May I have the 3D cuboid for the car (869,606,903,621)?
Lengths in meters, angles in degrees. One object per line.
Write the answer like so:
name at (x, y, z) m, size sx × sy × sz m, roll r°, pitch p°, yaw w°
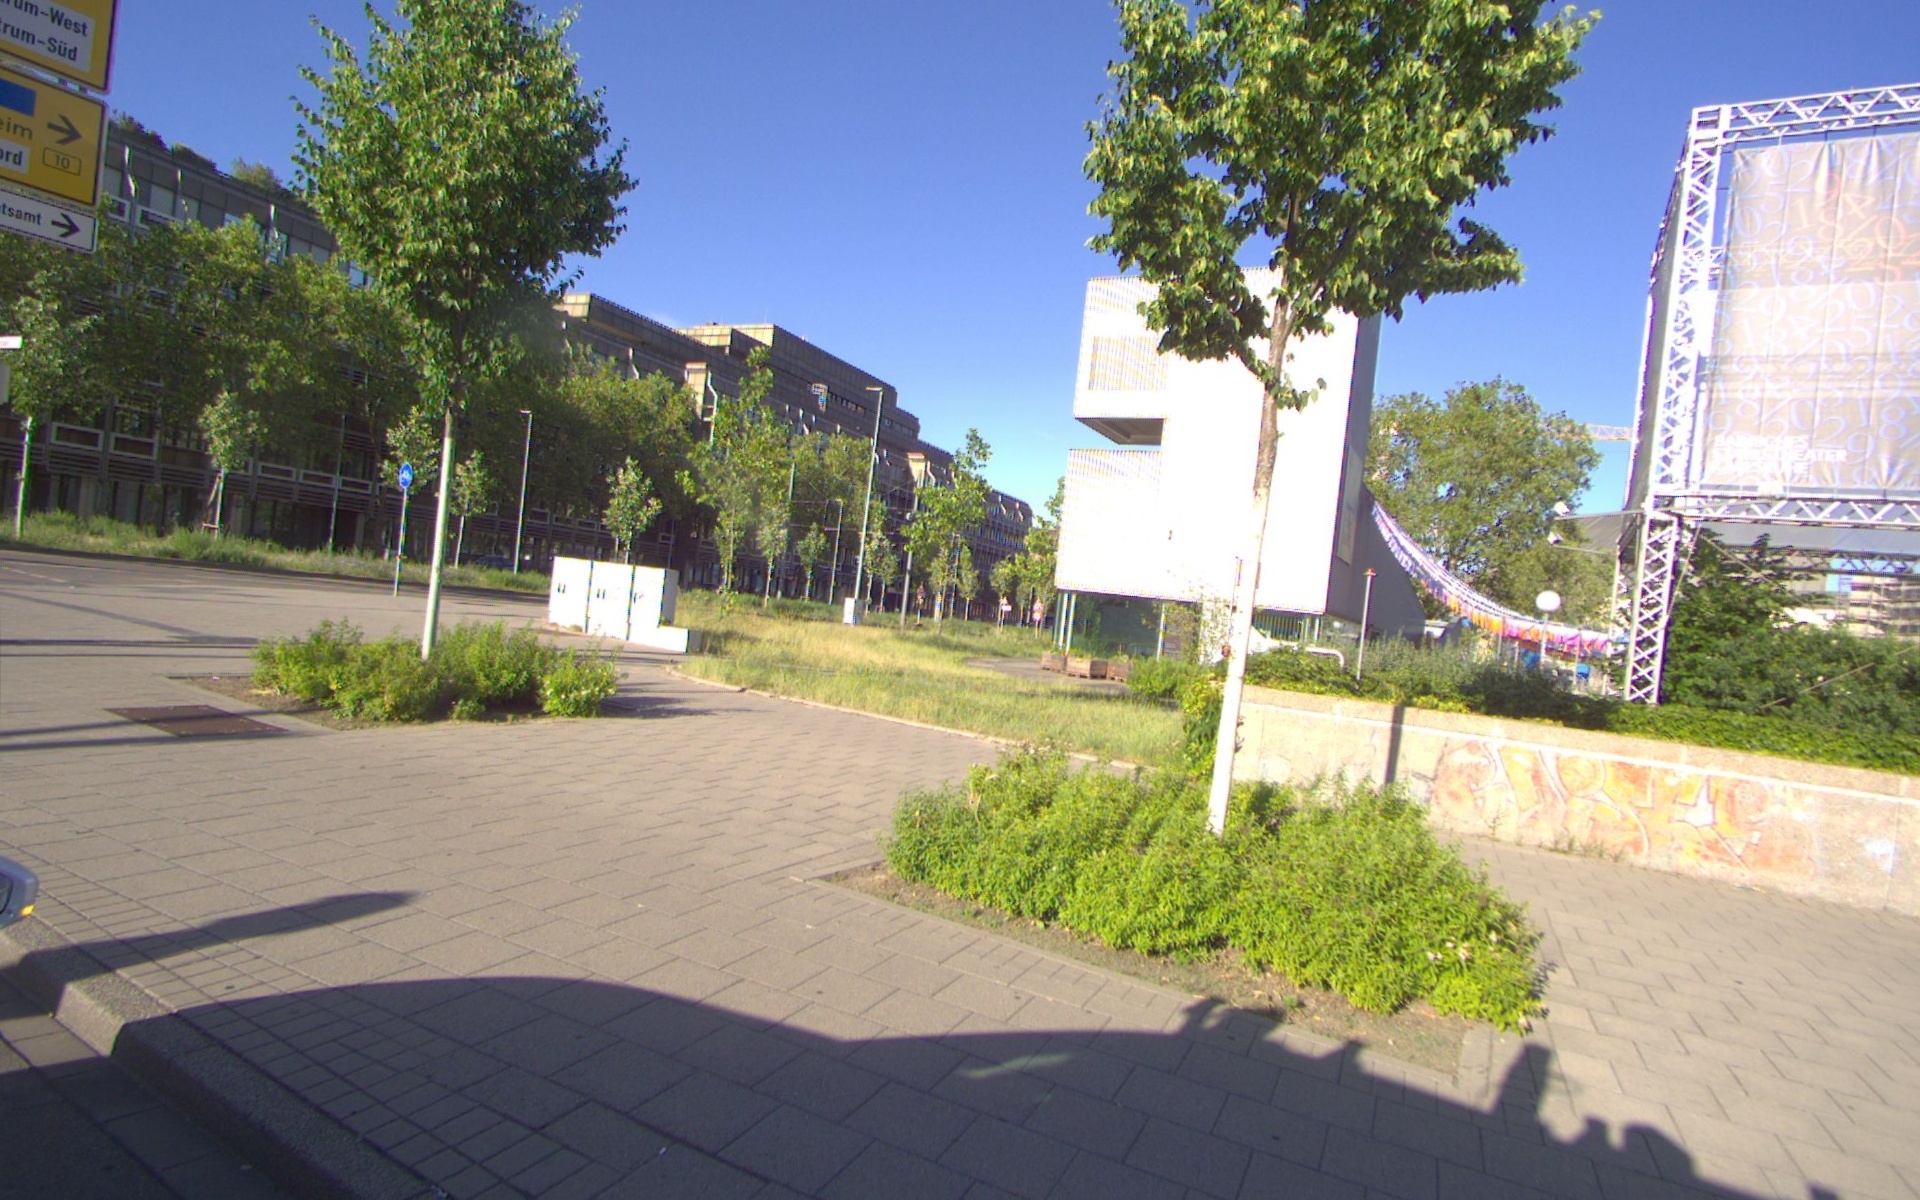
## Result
car at (-7.395, 1.360, 100.484) m, size 1.605 × 1.359 × 3.994 m, roll 6°, pitch 1°, yaw 23°
